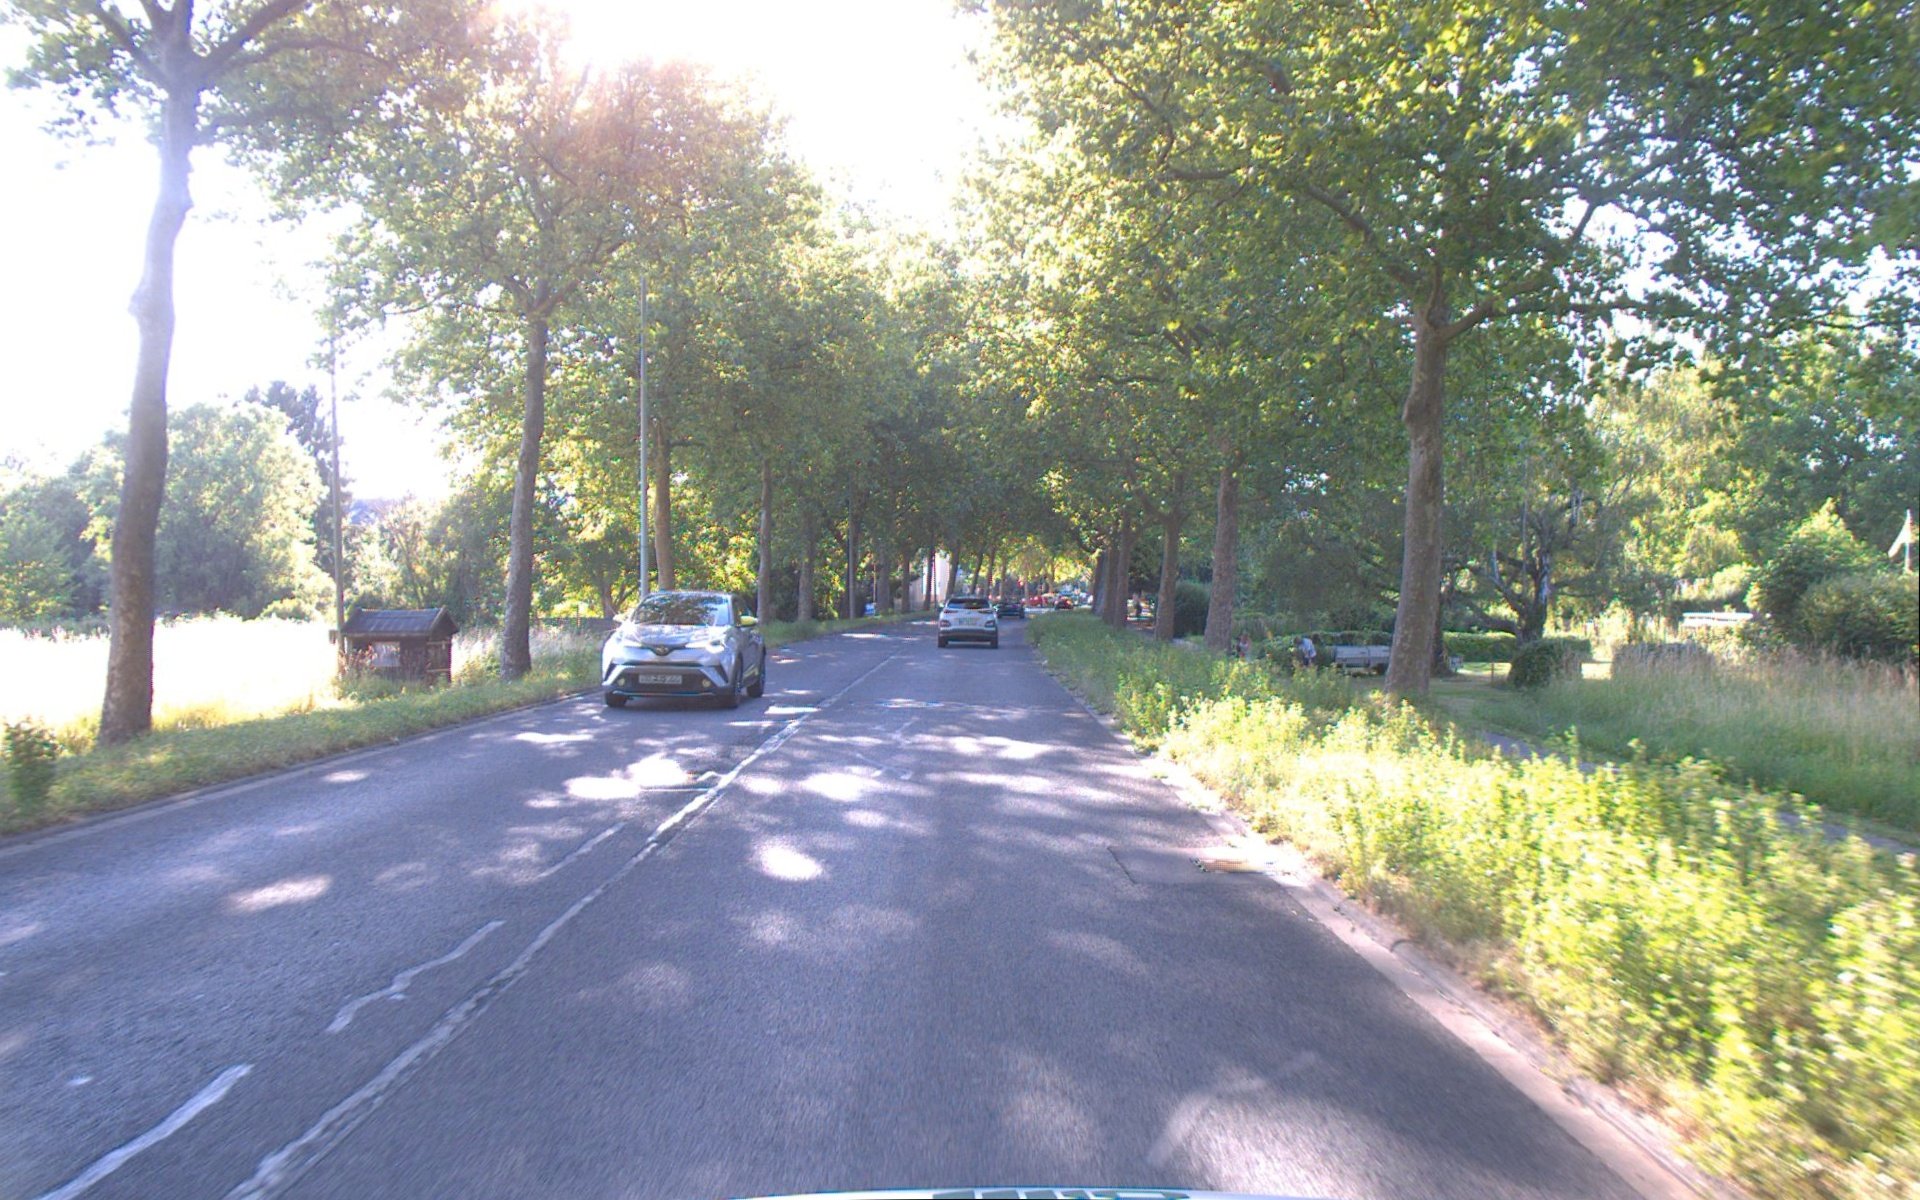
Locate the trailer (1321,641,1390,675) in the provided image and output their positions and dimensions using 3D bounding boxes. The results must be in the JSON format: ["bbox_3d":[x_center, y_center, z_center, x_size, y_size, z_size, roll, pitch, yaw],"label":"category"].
[{"bbox_3d":[13.206,1.919,55.258,2.073,1.071,1.201,1,-1,6],"label":"trailer"}]

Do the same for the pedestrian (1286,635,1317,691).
[{"bbox_3d":[10.071,1.835,48.784,0.824,1.604,1.208,1,-1,9],"label":"pedestrian"}]

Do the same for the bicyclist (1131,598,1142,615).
[{"bbox_3d":[14.656,0.570,137.568,0.720,1.390,0.769,1,-1,-10],"label":"bicyclist"}]

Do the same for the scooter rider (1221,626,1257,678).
[{"bbox_3d":[8.771,1.626,51.987,0.771,1.604,0.839,0,-1,43],"label":"scooter rider"}]

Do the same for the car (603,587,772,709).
[{"bbox_3d":[-3.686,0.629,23.010,1.680,1.531,3.999,1,-1,0],"label":"car"}]

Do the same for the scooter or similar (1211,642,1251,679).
[{"bbox_3d":[8.506,1.891,51.815,1.587,1.155,0.335,2,-1,-44],"label":"scooter or similar"}]

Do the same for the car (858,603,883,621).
[{"bbox_3d":[-7.371,0.966,136.939,1.715,1.327,4.001,-1,1,2],"label":"car"}]

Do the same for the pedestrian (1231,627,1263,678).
[{"bbox_3d":[9.183,1.681,52.893,0.767,1.604,0.843,0,-1,29],"label":"pedestrian"}]

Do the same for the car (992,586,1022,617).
[{"bbox_3d":[3.186,0.117,110.985,1.952,2.049,4.001,1,-1,2],"label":"car"}]

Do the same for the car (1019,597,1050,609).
[{"bbox_3d":[10.030,0.378,221.966,3.902,1.504,2.002,1,-1,9],"label":"car"}]

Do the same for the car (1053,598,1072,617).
[{"bbox_3d":[11.128,0.858,179.994,1.952,2.049,4.001,1,-1,3],"label":"car"}]

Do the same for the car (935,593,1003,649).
[{"bbox_3d":[0.274,0.619,49.976,1.952,1.602,4.000,1,0,1],"label":"car"}]
